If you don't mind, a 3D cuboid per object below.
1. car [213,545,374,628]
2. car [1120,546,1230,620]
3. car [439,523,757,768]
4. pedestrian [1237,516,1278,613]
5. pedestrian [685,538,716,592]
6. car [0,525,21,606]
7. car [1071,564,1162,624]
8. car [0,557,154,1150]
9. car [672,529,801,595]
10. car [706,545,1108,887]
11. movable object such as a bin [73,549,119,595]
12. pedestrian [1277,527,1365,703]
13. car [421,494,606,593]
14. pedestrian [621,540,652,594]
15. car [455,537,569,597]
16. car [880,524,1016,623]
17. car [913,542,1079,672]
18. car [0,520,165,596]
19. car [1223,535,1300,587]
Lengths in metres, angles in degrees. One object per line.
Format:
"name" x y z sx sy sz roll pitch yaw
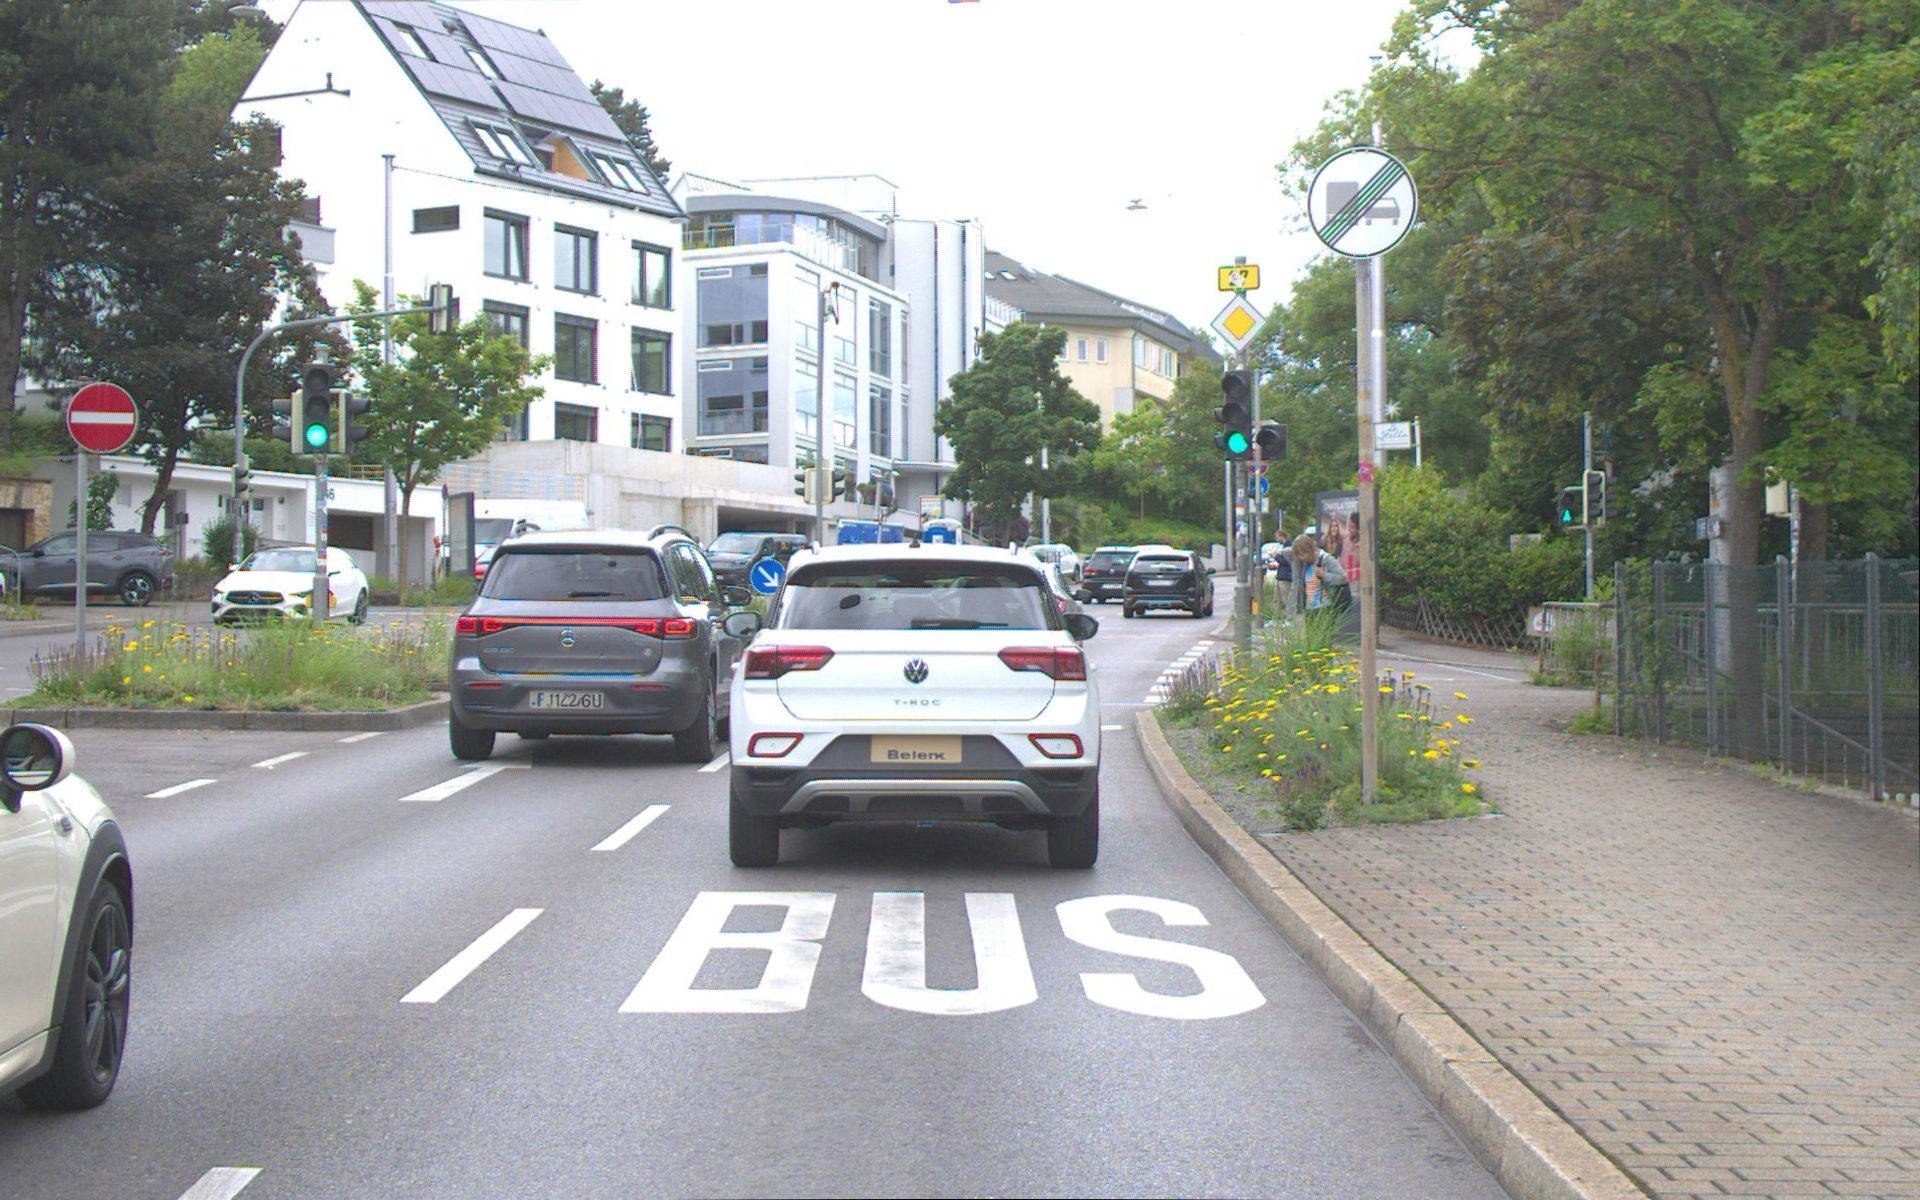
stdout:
"car" -11.687 -0.265 60.546 1.717 1.388 4.609 0 1 3
"car" 4.826 -0.381 76.690 1.874 1.496 4.553 3 1 10
"car" -2.595 0.272 25.651 1.813 1.646 4.636 0 1 1
"pedestrian" 5.662 -0.680 65.447 0.693 1.827 0.620 2 1 7
"pedestrian" -8.065 -1.084 106.953 0.674 1.634 0.672 1 1 -33
"car" -19.456 -0.720 65.586 2.701 1.515 1.564 3 0 -23
"car" 4.112 -0.176 89.996 1.859 1.495 4.054 0 1 10
"car" -3.079 0.611 7.812 1.628 1.388 3.566 0 1 0
"car" -6.846 -1.191 105.995 1.984 1.960 5.213 0 1 21
"car" -0.298 0.494 17.433 1.811 1.534 3.690 -1 1 -2
"movable object such as a bin" -19.439 -0.623 77.367 0.640 1.008 0.729 2 1 36
"pedestrian" 3.502 0.144 33.323 0.694 1.683 0.619 -1 0 22
"car" -11.942 -1.526 92.585 2.233 2.559 7.417 0 1 16
"pedestrian" -9.822 -1.000 104.456 0.626 1.634 0.671 3 1 22
"car" -11.145 -0.842 85.695 1.622 1.460 3.925 0 1 12
"car" -0.167 -0.485 59.844 1.858 1.646 4.635 0 1 6
"car" 0.515 0.059 44.344 1.873 1.496 4.555 3 1 3
"car" -18.393 -0.861 70.274 4.118 1.534 1.599 0 1 -10
"car" 8.892 -1.152 101.210 1.859 1.495 4.054 0 1 10
